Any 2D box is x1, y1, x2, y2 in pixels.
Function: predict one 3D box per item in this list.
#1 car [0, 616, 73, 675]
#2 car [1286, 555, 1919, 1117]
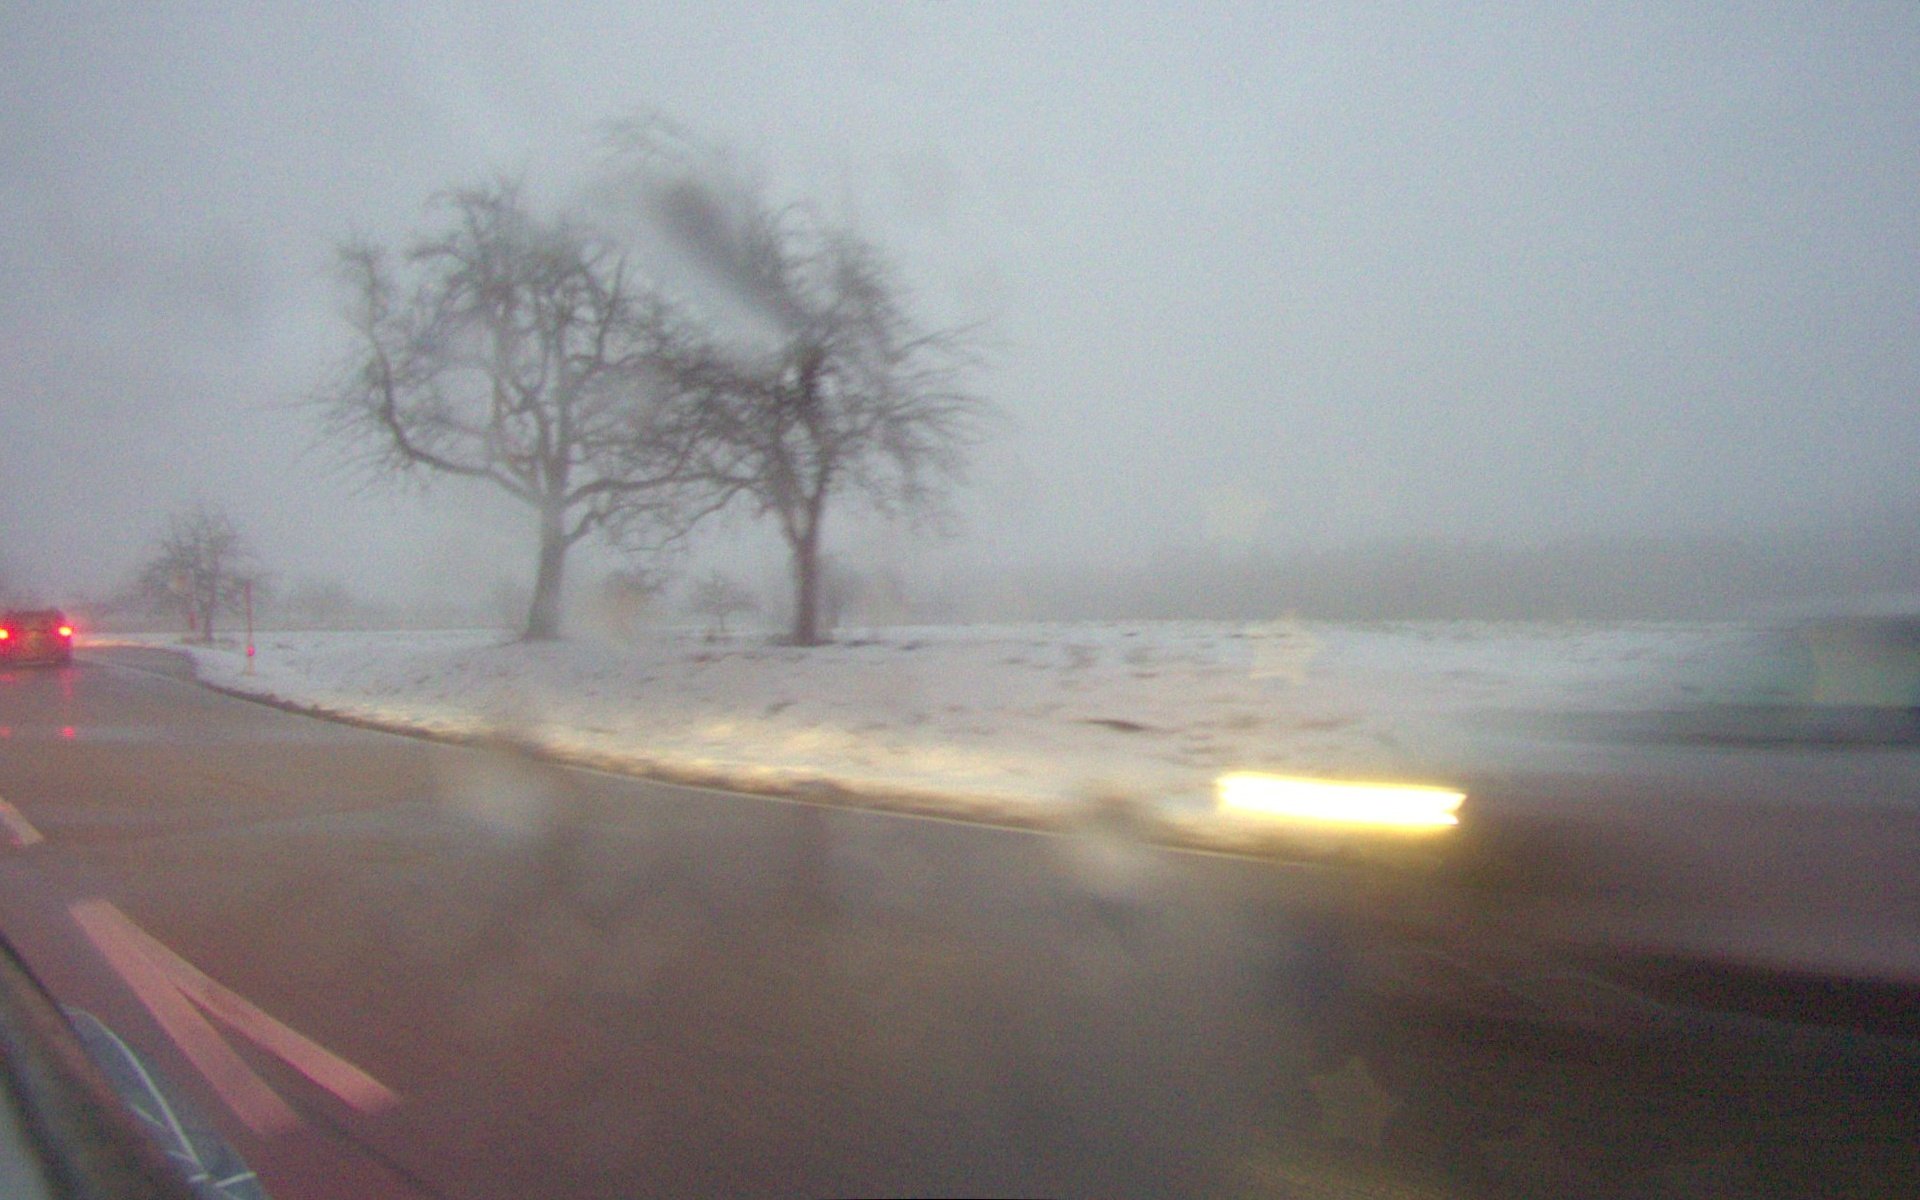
[{"bbox_3d":[-29.706,1.425,32.404,1.731,1.706,4.429,-1,-1,-44],"label":"car"},{"bbox_3d":[3.315,0.635,3.248,3.992,1.498,1.727,-2,-3,33],"label":"car"}]
